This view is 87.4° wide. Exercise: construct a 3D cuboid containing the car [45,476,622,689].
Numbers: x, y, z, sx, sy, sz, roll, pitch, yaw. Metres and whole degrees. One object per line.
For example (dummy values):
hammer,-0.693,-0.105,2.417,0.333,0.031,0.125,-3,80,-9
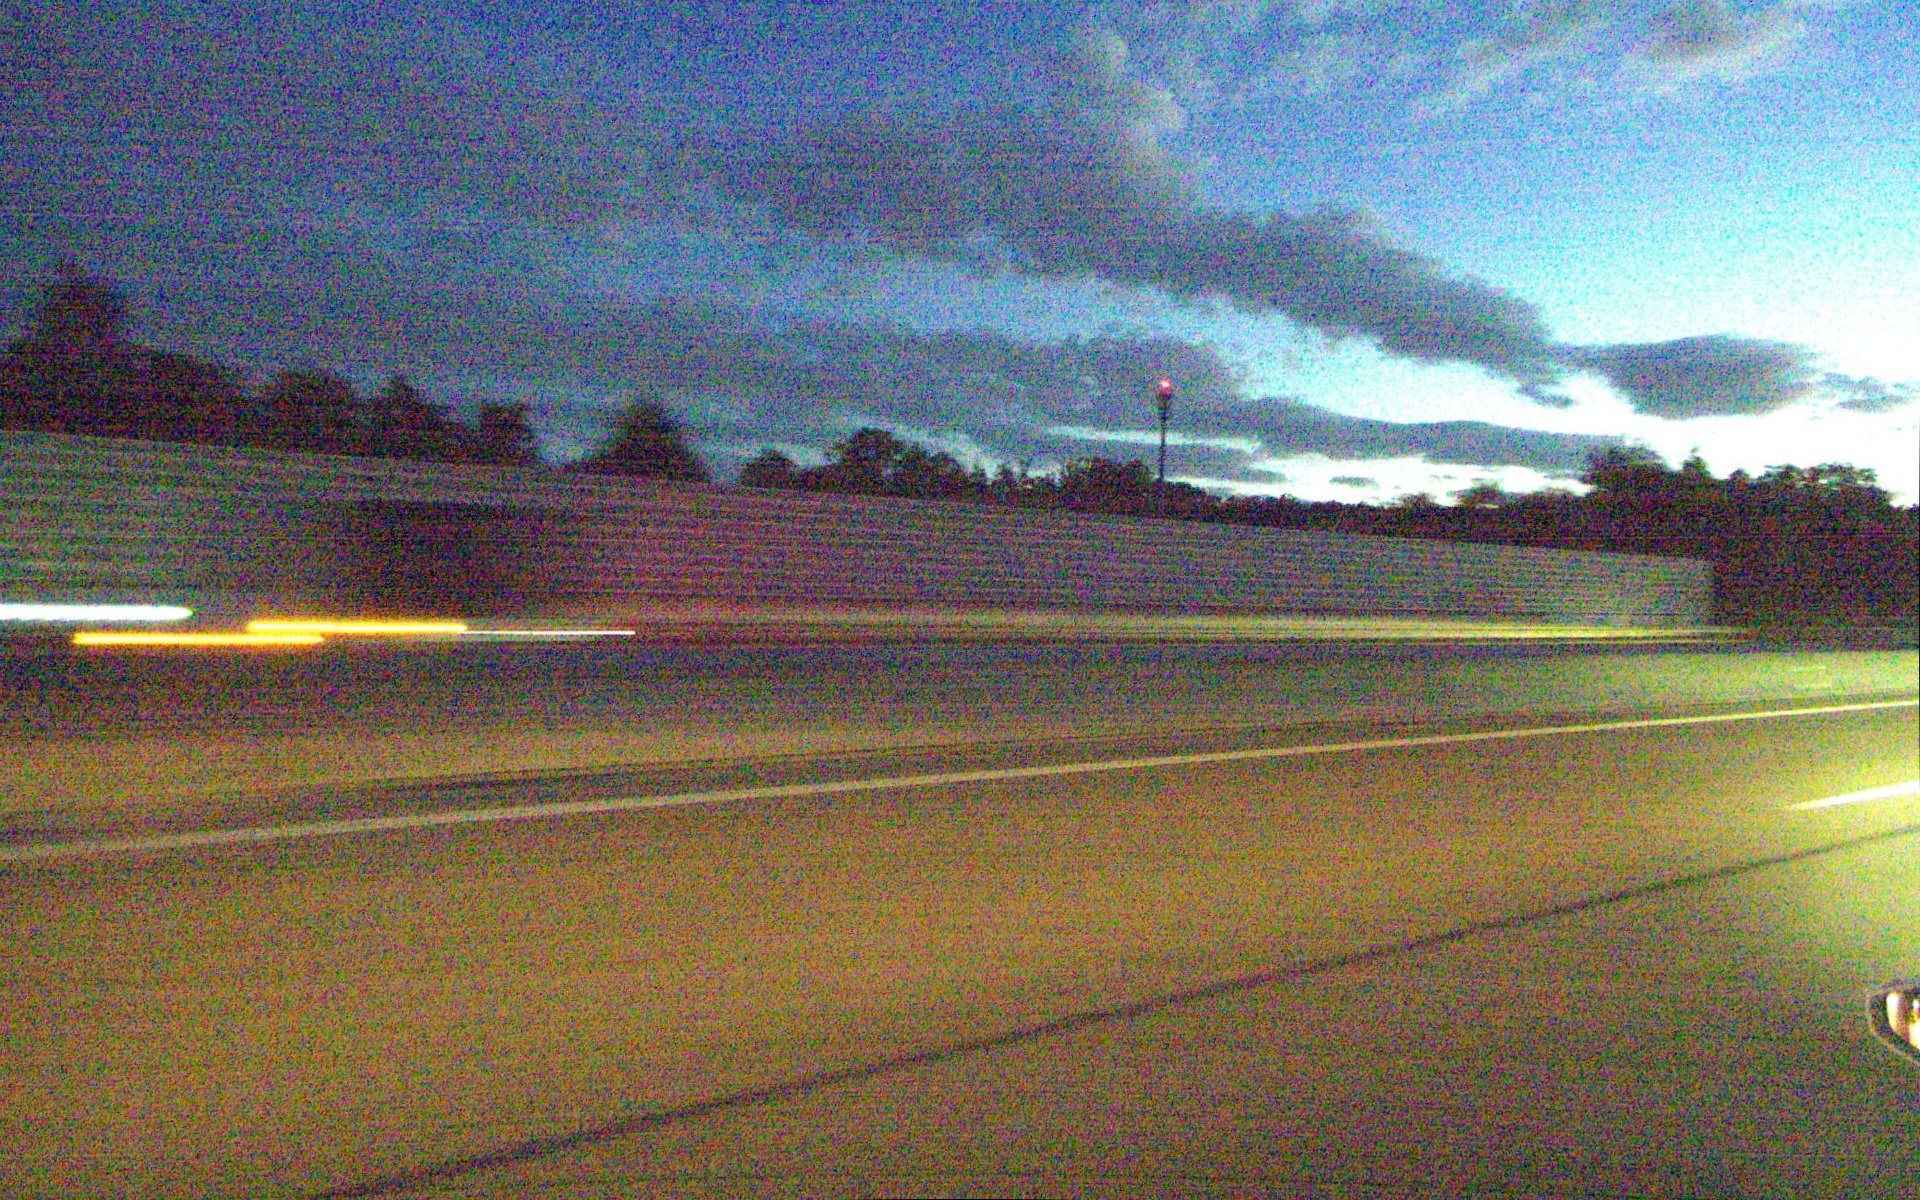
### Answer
car,-10.462,-0.213,17.850,8.112,3.126,2.641,1,0,-29
